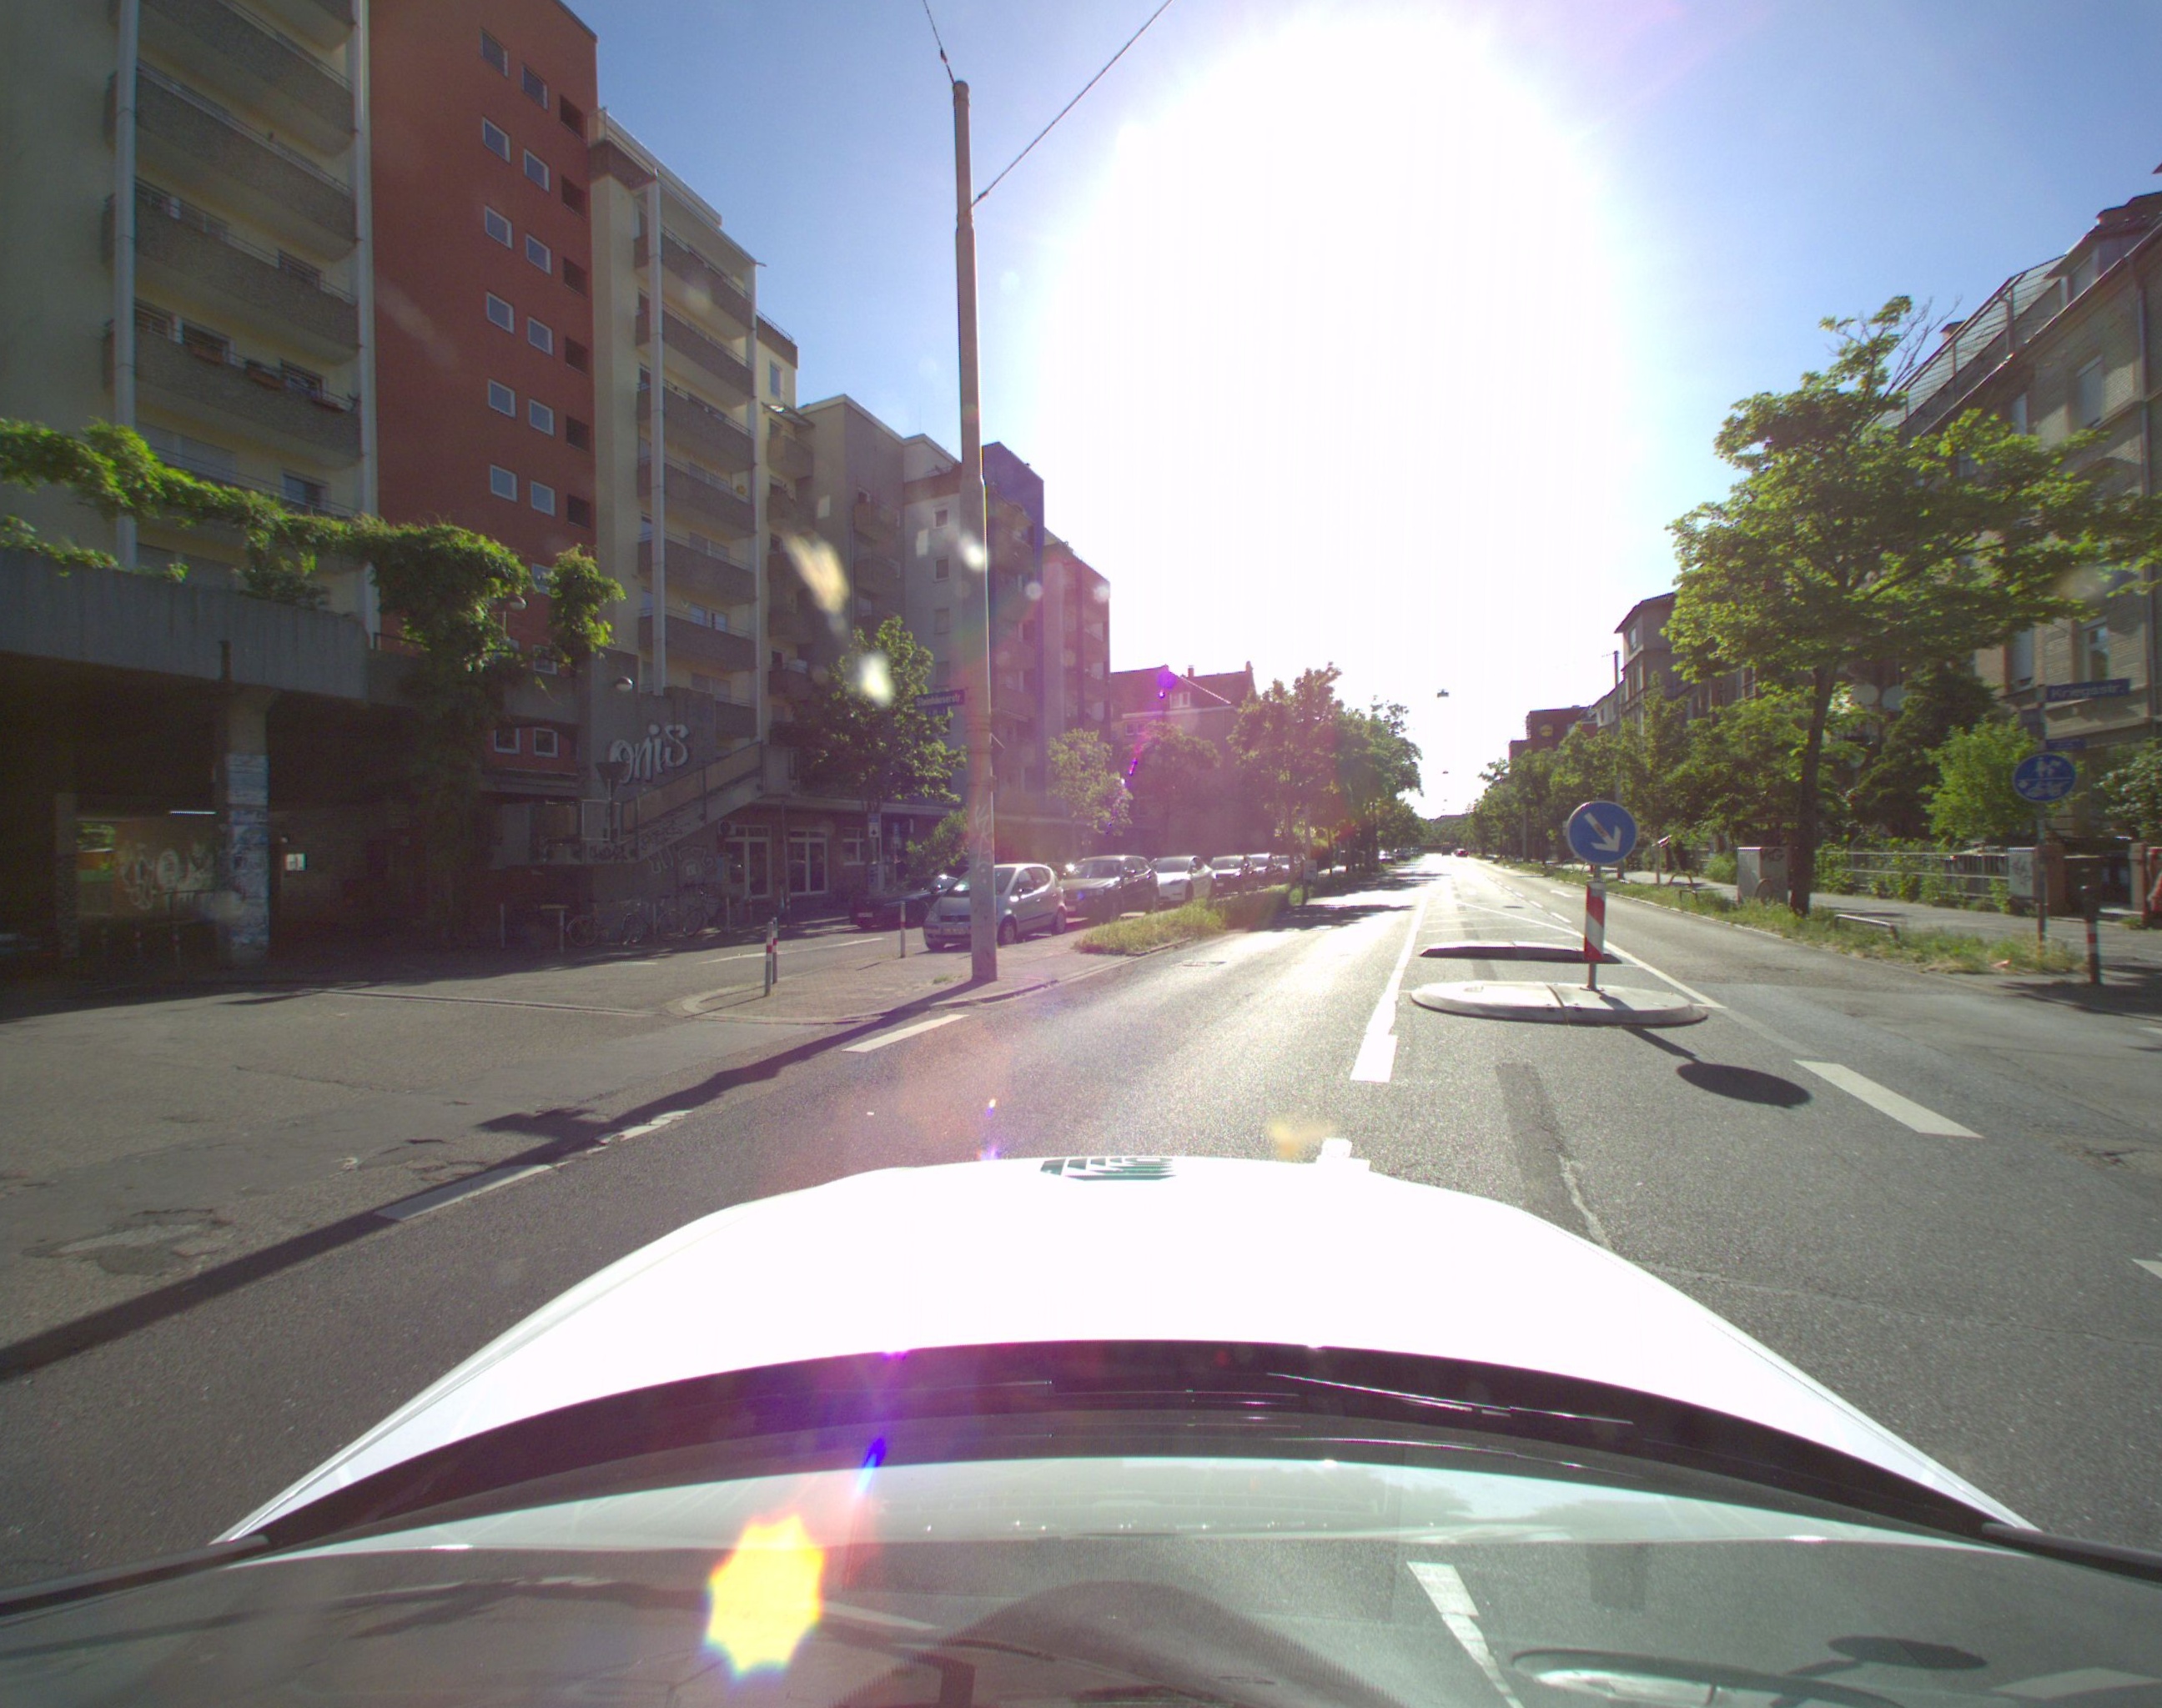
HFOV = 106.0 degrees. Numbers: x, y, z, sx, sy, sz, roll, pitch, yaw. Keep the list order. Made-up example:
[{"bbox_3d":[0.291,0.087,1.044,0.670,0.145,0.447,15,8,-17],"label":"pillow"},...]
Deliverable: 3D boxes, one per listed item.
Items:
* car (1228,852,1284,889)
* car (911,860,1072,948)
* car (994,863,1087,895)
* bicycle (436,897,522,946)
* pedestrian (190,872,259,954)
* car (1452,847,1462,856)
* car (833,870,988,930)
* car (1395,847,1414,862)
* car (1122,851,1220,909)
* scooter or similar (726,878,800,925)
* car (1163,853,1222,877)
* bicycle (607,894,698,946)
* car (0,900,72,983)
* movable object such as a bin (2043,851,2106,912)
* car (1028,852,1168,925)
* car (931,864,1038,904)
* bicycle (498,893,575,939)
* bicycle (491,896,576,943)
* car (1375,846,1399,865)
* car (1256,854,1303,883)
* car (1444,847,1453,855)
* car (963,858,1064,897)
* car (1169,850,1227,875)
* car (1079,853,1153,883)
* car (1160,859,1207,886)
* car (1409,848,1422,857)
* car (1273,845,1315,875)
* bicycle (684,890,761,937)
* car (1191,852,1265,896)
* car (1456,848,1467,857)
[{"bbox_3d":[8.196,0.723,37.935,1.736,1.553,4.022,-2,0,24],"label":"car"},{"bbox_3d":[-1.663,0.927,16.363,1.704,1.518,3.550,-2,-1,21],"label":"car"},{"bbox_3d":[-1.895,1.165,38.134,3.953,1.424,1.696,-1,0,20],"label":"car"},{"bbox_3d":[-13.110,1.450,17.736,1.782,1.001,0.486,-1,1,16],"label":"bicycle"},{"bbox_3d":[-18.768,1.262,17.856,0.749,1.699,0.801,1,0,23],"label":"pedestrian"},{"bbox_3d":[80.221,-0.601,173.771,1.742,1.783,4.023,-2,0,25],"label":"car"},{"bbox_3d":[-4.692,1.238,23.181,1.873,1.398,4.556,-2,0,26],"label":"car"},{"bbox_3d":[44.785,0.027,112.755,2.042,2.013,4.656,-2,0,26],"label":"car"},{"bbox_3d":[3.078,0.800,27.015,1.871,1.662,4.556,-4,-1,23],"label":"car"},{"bbox_3d":[-8.987,1.342,23.022,1.950,1.277,0.634,-1,0,19],"label":"scooter or similar"},{"bbox_3d":[8.061,0.788,58.947,3.953,1.629,1.696,-1,0,20],"label":"car"},{"bbox_3d":[-9.796,1.494,18.673,0.410,1.030,1.813,2,2,40],"label":"bicycle"},{"bbox_3d":[-21.105,1.603,15.166,4.550,1.433,1.868,-2,-2,25],"label":"car"},{"bbox_3d":[18.967,0.512,15.558,0.563,1.133,0.555,-2,0,24],"label":"movable object such as a bin"},{"bbox_3d":[0.578,0.797,20.800,1.851,1.627,4.530,-2,0,25],"label":"car"},{"bbox_3d":[-3.980,1.232,33.637,3.953,1.551,1.779,-1,0,20],"label":"car"},{"bbox_3d":[-12.675,1.431,18.957,1.782,1.001,0.417,0,1,16],"label":"bicycle"},{"bbox_3d":[-12.217,1.459,18.202,1.606,1.001,0.415,0,1,1],"label":"bicycle"},{"bbox_3d":[33.196,0.145,88.177,1.975,2.013,4.230,-2,0,26],"label":"car"},{"bbox_3d":[10.622,0.747,43.355,1.739,1.398,4.022,-2,0,24],"label":"car"},{"bbox_3d":[85.992,-0.753,190.629,1.742,1.783,4.023,-2,0,25],"label":"car"},{"bbox_3d":[-2.962,1.039,35.781,3.953,1.607,1.851,-1,0,20],"label":"car"},{"bbox_3d":[8.725,0.632,60.802,3.953,1.769,1.896,-1,0,21],"label":"car"},{"bbox_3d":[2.083,0.821,47.800,3.953,1.629,1.696,-1,0,20],"label":"car"},{"bbox_3d":[6.080,1.051,47.966,1.671,1.469,4.023,-1,0,24],"label":"car"},{"bbox_3d":[65.072,-0.234,158.563,1.975,1.695,4.024,-2,0,26],"label":"car"},{"bbox_3d":[12.504,0.352,47.701,1.747,1.646,4.022,-1,0,24],"label":"car"},{"bbox_3d":[-8.964,1.469,20.432,0.410,1.001,1.814,2,2,33],"label":"bicycle"},{"bbox_3d":[5.993,0.776,32.793,1.846,1.587,4.024,-3,-1,26],"label":"car"},{"bbox_3d":[75.883,-0.337,162.430,1.933,1.708,4.023,-2,0,25],"label":"car"}]
